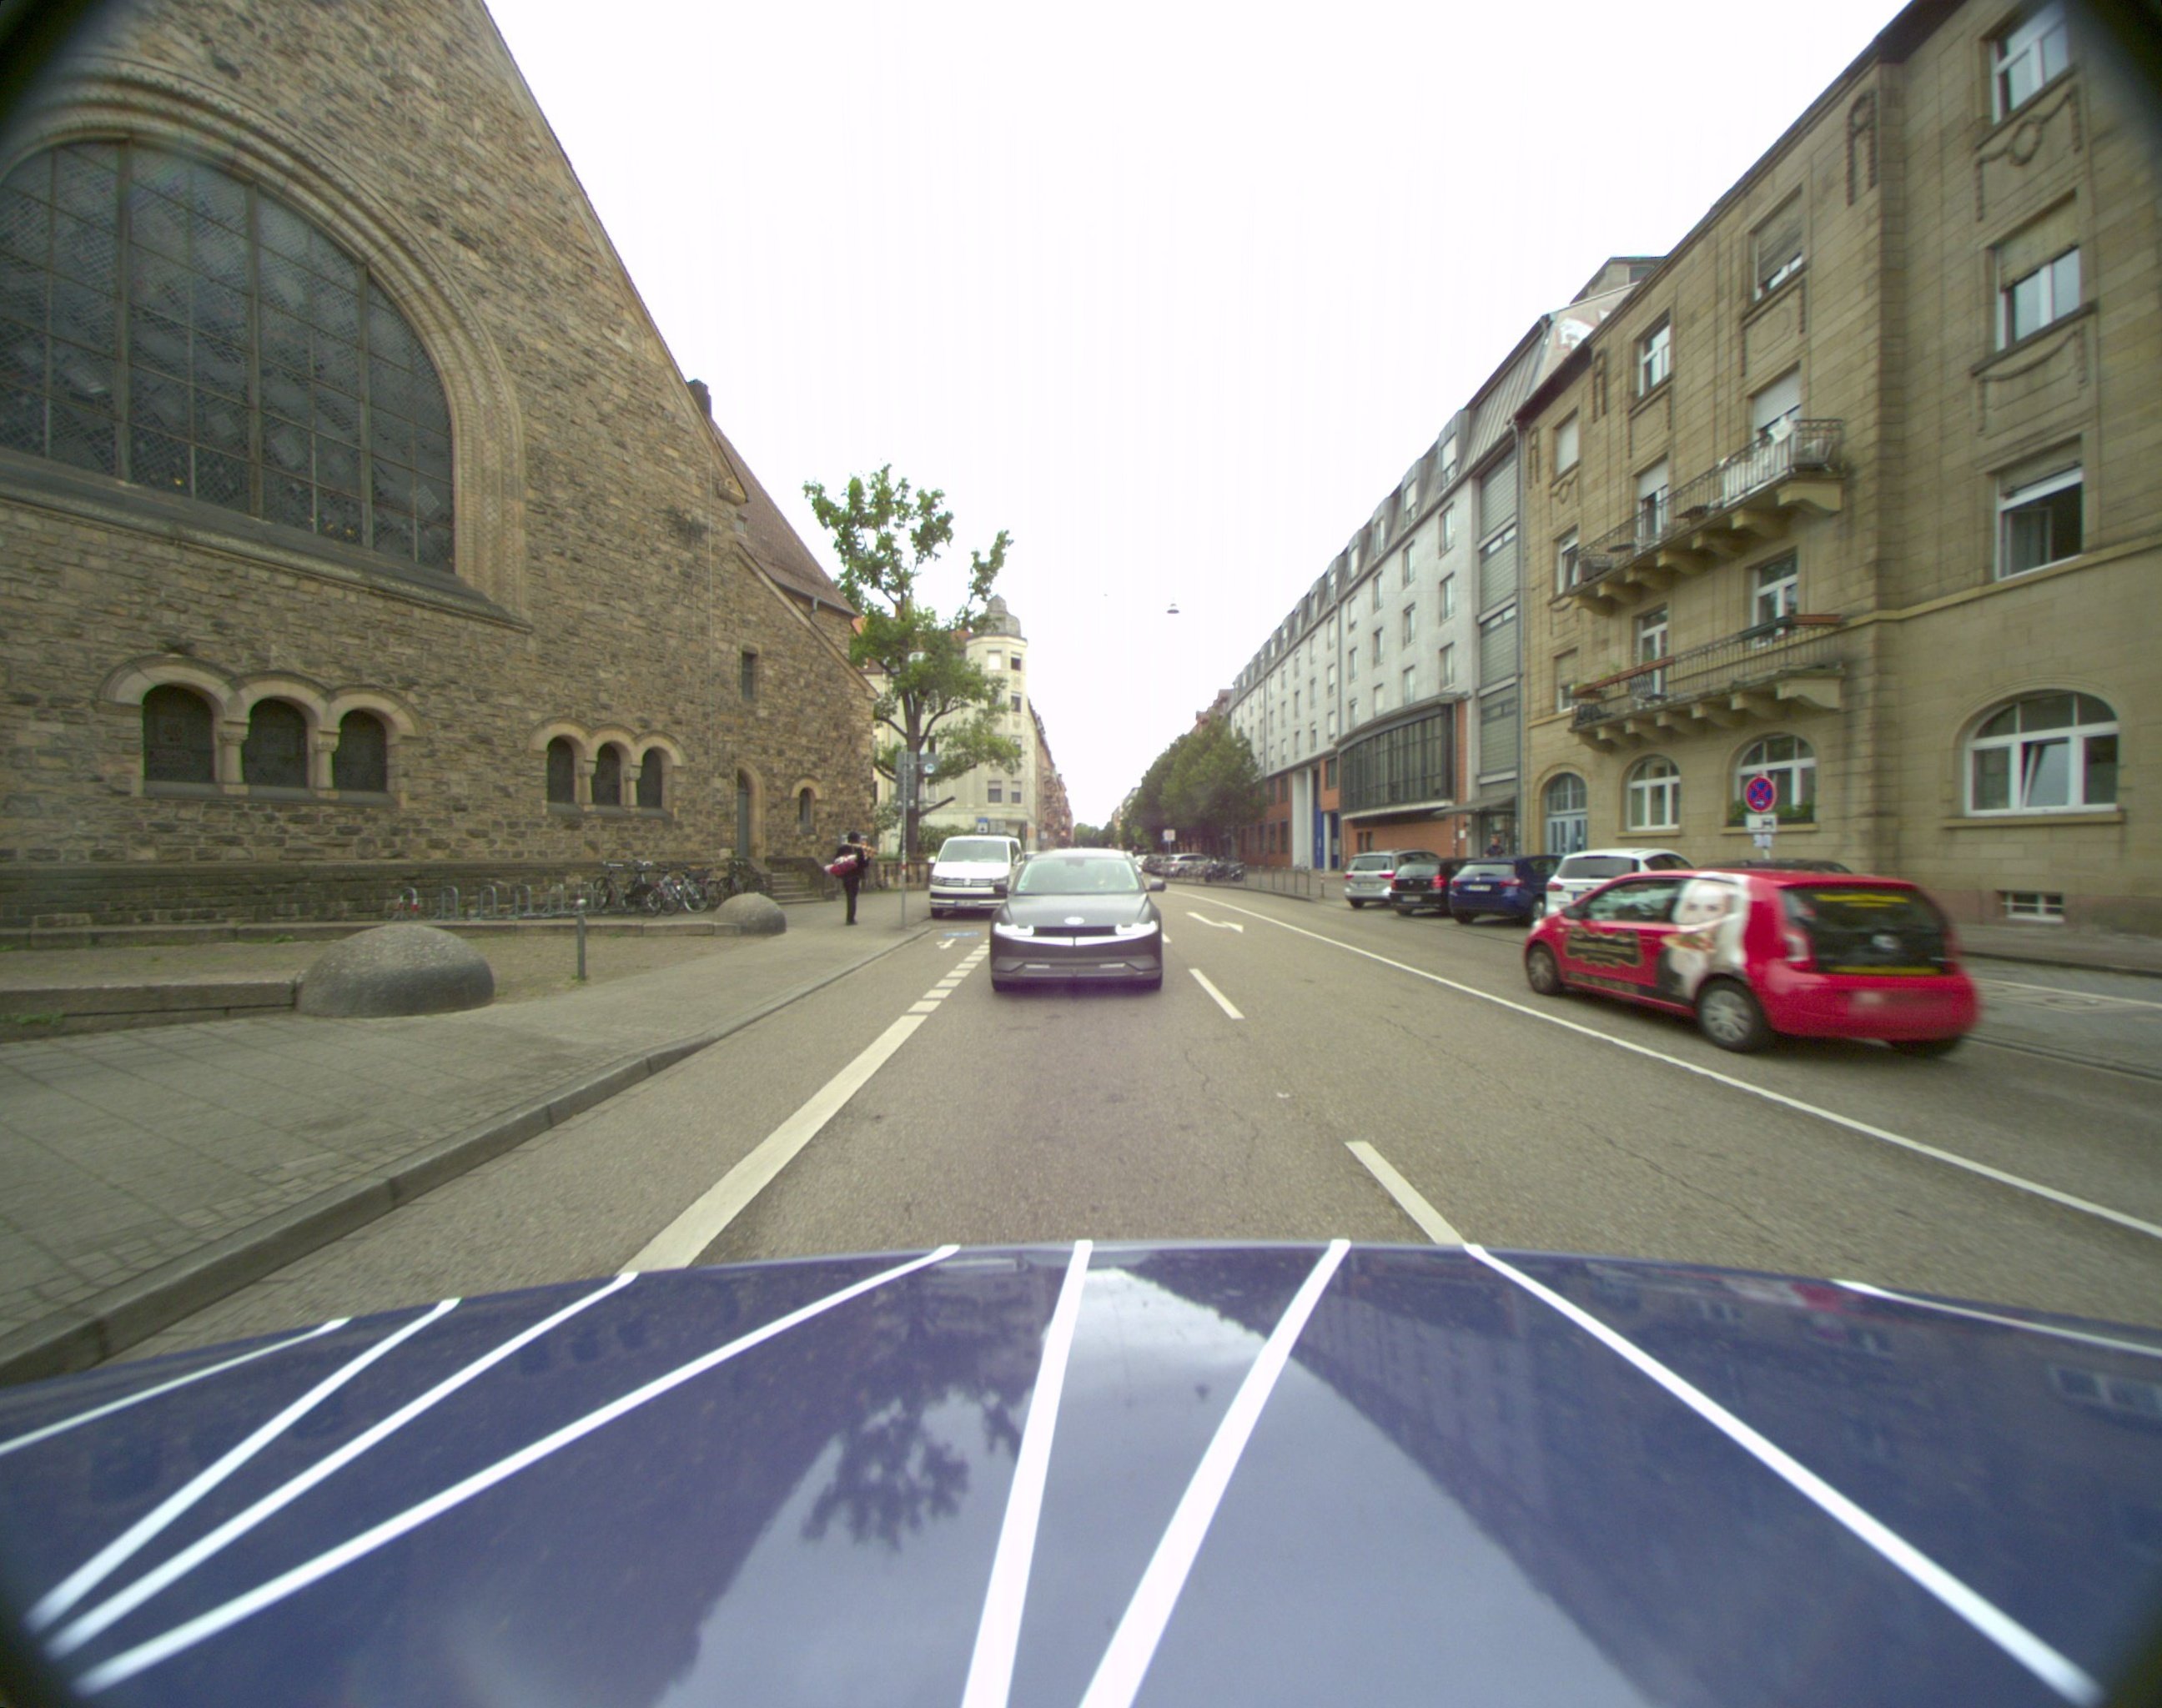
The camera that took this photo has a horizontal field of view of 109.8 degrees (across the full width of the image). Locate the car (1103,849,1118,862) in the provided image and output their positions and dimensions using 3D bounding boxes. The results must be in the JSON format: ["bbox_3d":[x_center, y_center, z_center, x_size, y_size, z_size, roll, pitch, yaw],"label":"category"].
[{"bbox_3d":[4.215,0.209,108.735,1.998,1.898,4.000,0,0,2],"label":"car"}]

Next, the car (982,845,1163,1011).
[{"bbox_3d":[-0.037,0.737,9.652,1.820,1.675,4.000,0,0,1],"label":"car"}]

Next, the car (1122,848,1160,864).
[{"bbox_3d":[7.100,0.219,90.122,4.004,1.898,1.996,0,1,-22],"label":"car"}]

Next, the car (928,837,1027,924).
[{"bbox_3d":[-2.447,0.576,19.296,1.809,1.909,5.163,0,0,0],"label":"car"}]

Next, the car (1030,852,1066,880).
[{"bbox_3d":[-1.856,0.654,44.002,1.820,1.556,4.000,0,0,1],"label":"car"}]

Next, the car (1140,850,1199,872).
[{"bbox_3d":[6.732,0.526,57.881,4.004,1.619,1.996,0,1,-22],"label":"car"}]

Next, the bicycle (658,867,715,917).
[{"bbox_3d":[-8.782,0.833,16.888,1.380,1.054,0.311,0,1,23],"label":"bicycle"}]

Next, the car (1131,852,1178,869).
[{"bbox_3d":[6.835,0.609,70.464,4.004,1.488,1.735,0,1,-22],"label":"car"}]

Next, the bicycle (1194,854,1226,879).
[{"bbox_3d":[6.969,0.656,41.183,1.630,1.282,0.416,-2,1,0],"label":"bicycle"}]

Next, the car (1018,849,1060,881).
[{"bbox_3d":[-2.094,0.539,38.781,1.820,1.556,4.000,0,0,1],"label":"car"}]

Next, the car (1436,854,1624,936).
[{"bbox_3d":[9.730,0.816,16.441,3.754,1.437,1.820,-3,1,-29],"label":"car"}]

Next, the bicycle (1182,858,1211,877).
[{"bbox_3d":[6.822,0.777,44.822,1.630,1.067,0.416,-2,1,0],"label":"bicycle"}]

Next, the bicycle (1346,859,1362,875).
[{"bbox_3d":[14.405,0.668,40.171,0.336,0.783,1.581,0,0,2],"label":"bicycle"}]

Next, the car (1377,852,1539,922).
[{"bbox_3d":[9.523,0.777,19.145,4.006,1.430,1.729,-3,1,-31],"label":"car"}]

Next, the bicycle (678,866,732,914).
[{"bbox_3d":[-8.662,0.823,17.516,1.340,1.054,0.311,0,1,23],"label":"bicycle"}]

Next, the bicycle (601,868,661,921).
[{"bbox_3d":[-9.271,0.820,15.646,1.380,1.054,0.311,0,1,23],"label":"bicycle"}]

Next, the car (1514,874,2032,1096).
[{"bbox_3d":[5.823,0.963,7.062,1.653,1.439,3.511,0,0,1],"label":"car"}]

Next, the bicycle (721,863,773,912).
[{"bbox_3d":[-8.048,0.801,18.280,1.340,1.140,0.311,0,1,23],"label":"bicycle"}]

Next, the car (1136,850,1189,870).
[{"bbox_3d":[6.832,0.497,63.826,4.004,1.619,1.996,0,1,-22],"label":"car"}]

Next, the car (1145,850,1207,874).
[{"bbox_3d":[6.894,0.558,55.110,4.004,1.619,1.996,0,1,-22],"label":"car"}]

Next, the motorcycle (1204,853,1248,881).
[{"bbox_3d":[7.496,0.656,39.273,2.124,1.345,0.599,-2,1,2],"label":"motorcycle"}]

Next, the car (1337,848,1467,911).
[{"bbox_3d":[9.435,0.695,22.194,4.007,1.545,1.729,-3,1,-38],"label":"car"}]

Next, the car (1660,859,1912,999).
[{"bbox_3d":[9.627,0.854,10.294,4.007,1.409,1.657,-2,2,-34],"label":"car"}]

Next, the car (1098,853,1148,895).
[{"bbox_3d":[1.736,0.776,31.827,1.910,1.597,4.251,0,1,3],"label":"car"}]

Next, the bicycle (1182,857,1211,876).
[{"bbox_3d":[6.894,0.765,45.286,1.630,1.067,0.416,-2,1,0],"label":"bicycle"}]

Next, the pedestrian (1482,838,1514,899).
[{"bbox_3d":[12.579,0.419,22.932,0.621,1.812,0.642,0,1,1],"label":"pedestrian"}]

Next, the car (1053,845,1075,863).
[{"bbox_3d":[-1.568,-0.014,71.174,1.820,1.556,4.000,0,0,1],"label":"car"}]

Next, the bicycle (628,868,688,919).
[{"bbox_3d":[-9.019,0.832,16.191,1.380,1.054,0.311,0,1,23],"label":"bicycle"}]

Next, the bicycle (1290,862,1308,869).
[{"bbox_3d":[14.021,0.716,48.818,1.010,0.434,0.527,0,2,3],"label":"bicycle"}]

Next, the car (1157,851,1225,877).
[{"bbox_3d":[7.145,0.620,49.229,4.004,1.619,1.769,0,1,-22],"label":"car"}]

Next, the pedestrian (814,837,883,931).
[{"bbox_3d":[-4.694,0.578,15.391,0.814,1.799,1.021,0,3,22],"label":"pedestrian"}]

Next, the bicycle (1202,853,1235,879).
[{"bbox_3d":[7.282,0.636,40.284,1.630,1.345,0.416,-2,1,0],"label":"bicycle"}]

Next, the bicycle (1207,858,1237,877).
[{"bbox_3d":[8.095,0.771,43.721,1.630,1.067,0.416,-2,1,0],"label":"bicycle"}]

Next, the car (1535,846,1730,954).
[{"bbox_3d":[10.012,0.731,13.710,4.007,1.545,1.699,-3,1,-37],"label":"car"}]
